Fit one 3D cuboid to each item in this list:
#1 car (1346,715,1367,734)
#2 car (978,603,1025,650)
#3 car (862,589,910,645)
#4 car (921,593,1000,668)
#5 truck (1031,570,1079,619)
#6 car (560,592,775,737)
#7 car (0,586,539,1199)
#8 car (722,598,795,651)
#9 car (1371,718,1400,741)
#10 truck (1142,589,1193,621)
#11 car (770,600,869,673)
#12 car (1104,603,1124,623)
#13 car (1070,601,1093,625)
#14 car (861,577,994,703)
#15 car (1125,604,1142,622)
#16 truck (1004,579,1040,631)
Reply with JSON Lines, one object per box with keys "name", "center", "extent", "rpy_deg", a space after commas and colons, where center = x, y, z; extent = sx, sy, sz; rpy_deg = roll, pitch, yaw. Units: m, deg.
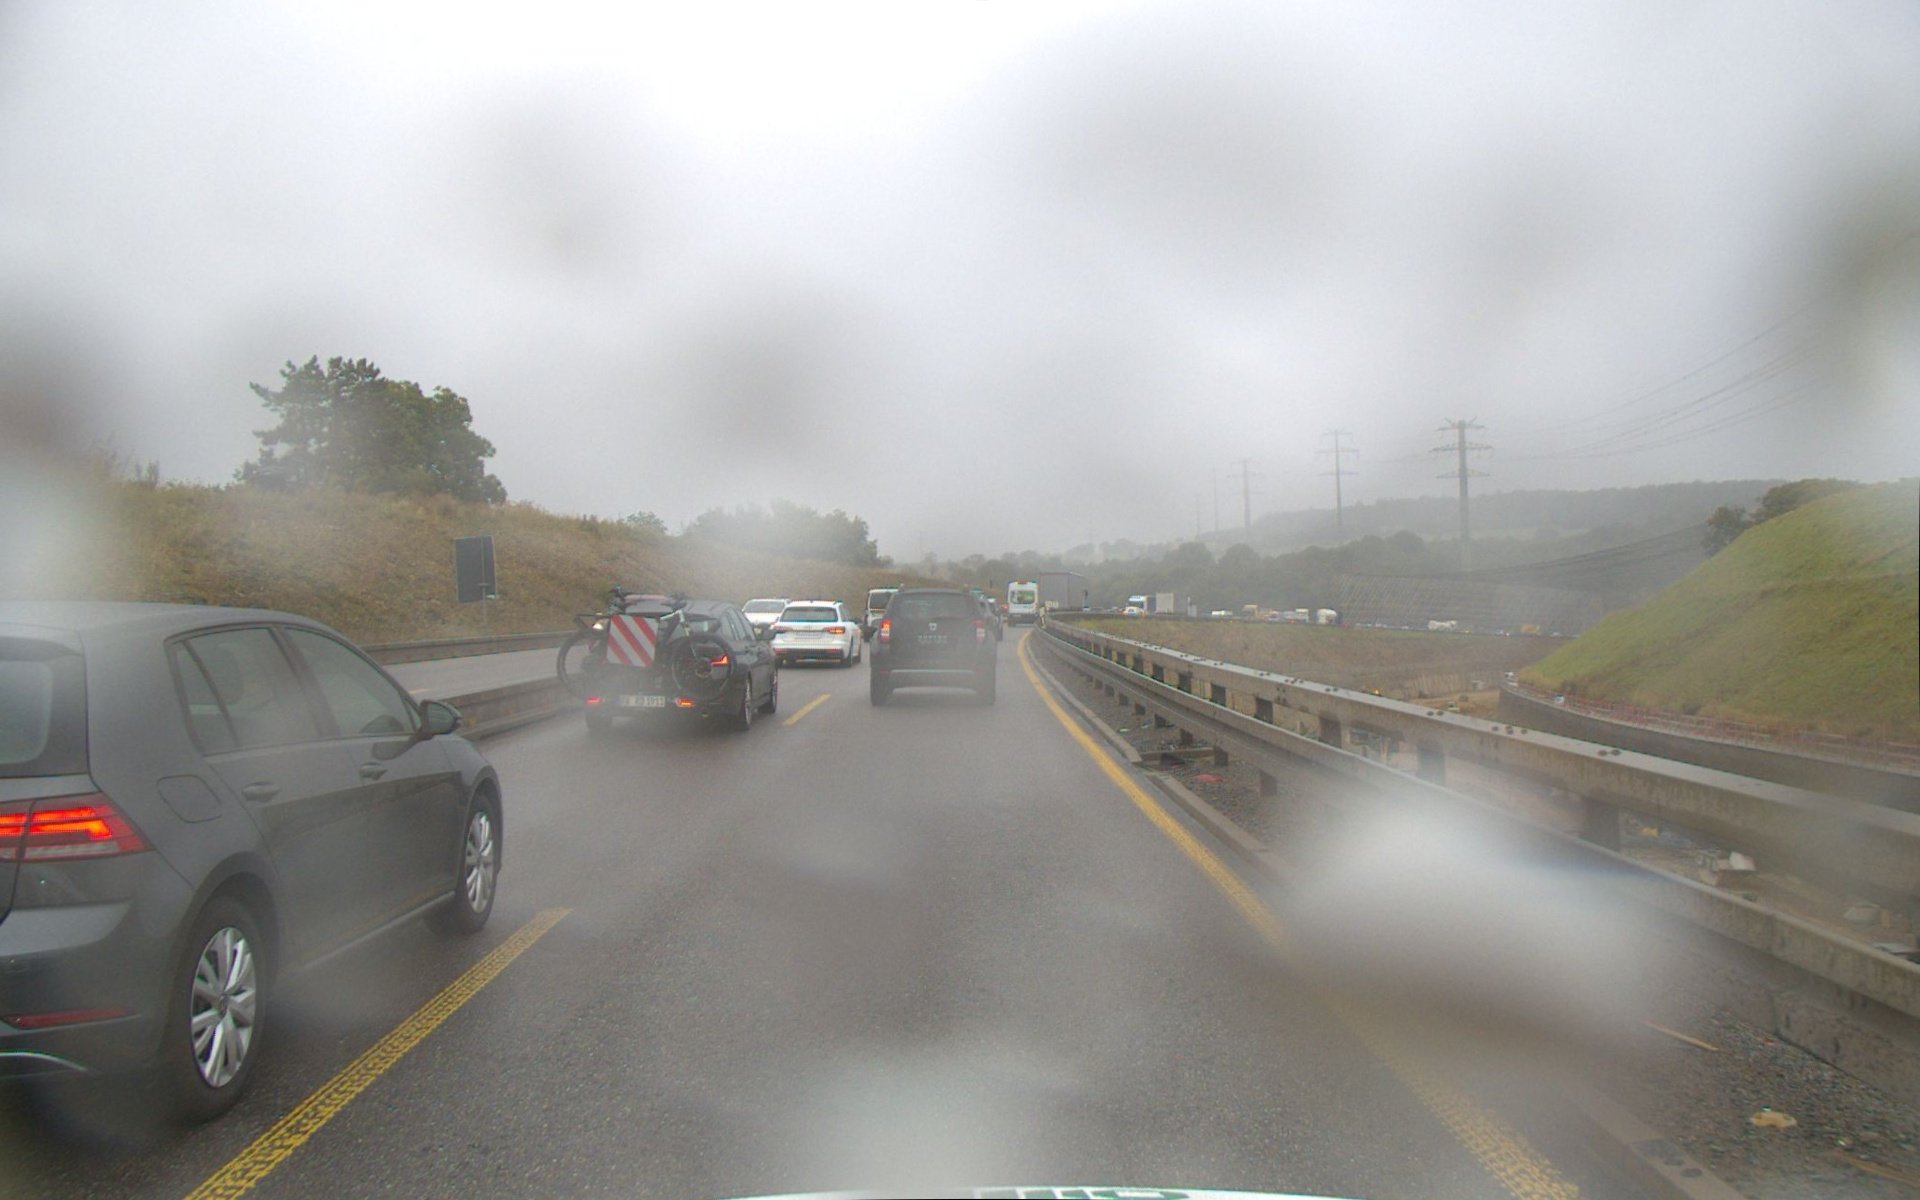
{"name": "car", "center": [46.262, 14.526, 193.078], "extent": [1.951, 1.847, 4.003], "rpy_deg": [1, -1, 7]}
{"name": "car", "center": [1.532, 0.970, 62.136], "extent": [1.499, 1.669, 4.011], "rpy_deg": [1, 0, -1]}
{"name": "car", "center": [-2.641, 0.605, 59.668], "extent": [1.627, 1.913, 4.018], "rpy_deg": [1, 0, -2]}
{"name": "car", "center": [0.014, 0.720, 41.183], "extent": [1.829, 1.738, 4.000], "rpy_deg": [1, 0, 0]}
{"name": "truck", "center": [7.839, -0.442, 135.496], "extent": [3.132, 3.827, 8.516], "rpy_deg": [1, 0, 8]}
{"name": "car", "center": [-3.257, 0.687, 19.122], "extent": [1.791, 1.502, 3.776], "rpy_deg": [0, 0, 0]}
{"name": "car", "center": [-2.799, 0.759, 5.797], "extent": [1.581, 1.532, 4.367], "rpy_deg": [-1, 0, -1]}
{"name": "car", "center": [-6.634, 0.798, 54.921], "extent": [2.004, 1.661, 4.987], "rpy_deg": [0, 0, -3]}
{"name": "car", "center": [45.056, 13.739, 175.396], "extent": [2.315, 2.049, 4.002], "rpy_deg": [1, 0, 5]}
{"name": "truck", "center": [29.498, 0.723, 234.561], "extent": [4.618, 4.222, 15.691], "rpy_deg": [1, 0, 16]}
{"name": "car", "center": [-3.091, 0.776, 37.173], "extent": [1.829, 1.486, 4.548], "rpy_deg": [2, 0, -1]}
{"name": "car", "center": [15.495, 1.317, 166.156], "extent": [1.737, 1.949, 4.003], "rpy_deg": [1, 0, 8]}
{"name": "car", "center": [10.662, 1.138, 145.134], "extent": [1.737, 1.949, 4.003], "rpy_deg": [1, 0, 8]}
{"name": "car", "center": [-0.418, 0.551, 24.115], "extent": [1.767, 1.675, 3.776], "rpy_deg": [0, 0, 1]}
{"name": "car", "center": [19.975, 1.494, 190.499], "extent": [1.737, 1.949, 4.003], "rpy_deg": [1, 0, 8]}
{"name": "truck", "center": [4.029, 0.343, 107.712], "extent": [2.105, 3.221, 6.460], "rpy_deg": [1, 0, 1]}
